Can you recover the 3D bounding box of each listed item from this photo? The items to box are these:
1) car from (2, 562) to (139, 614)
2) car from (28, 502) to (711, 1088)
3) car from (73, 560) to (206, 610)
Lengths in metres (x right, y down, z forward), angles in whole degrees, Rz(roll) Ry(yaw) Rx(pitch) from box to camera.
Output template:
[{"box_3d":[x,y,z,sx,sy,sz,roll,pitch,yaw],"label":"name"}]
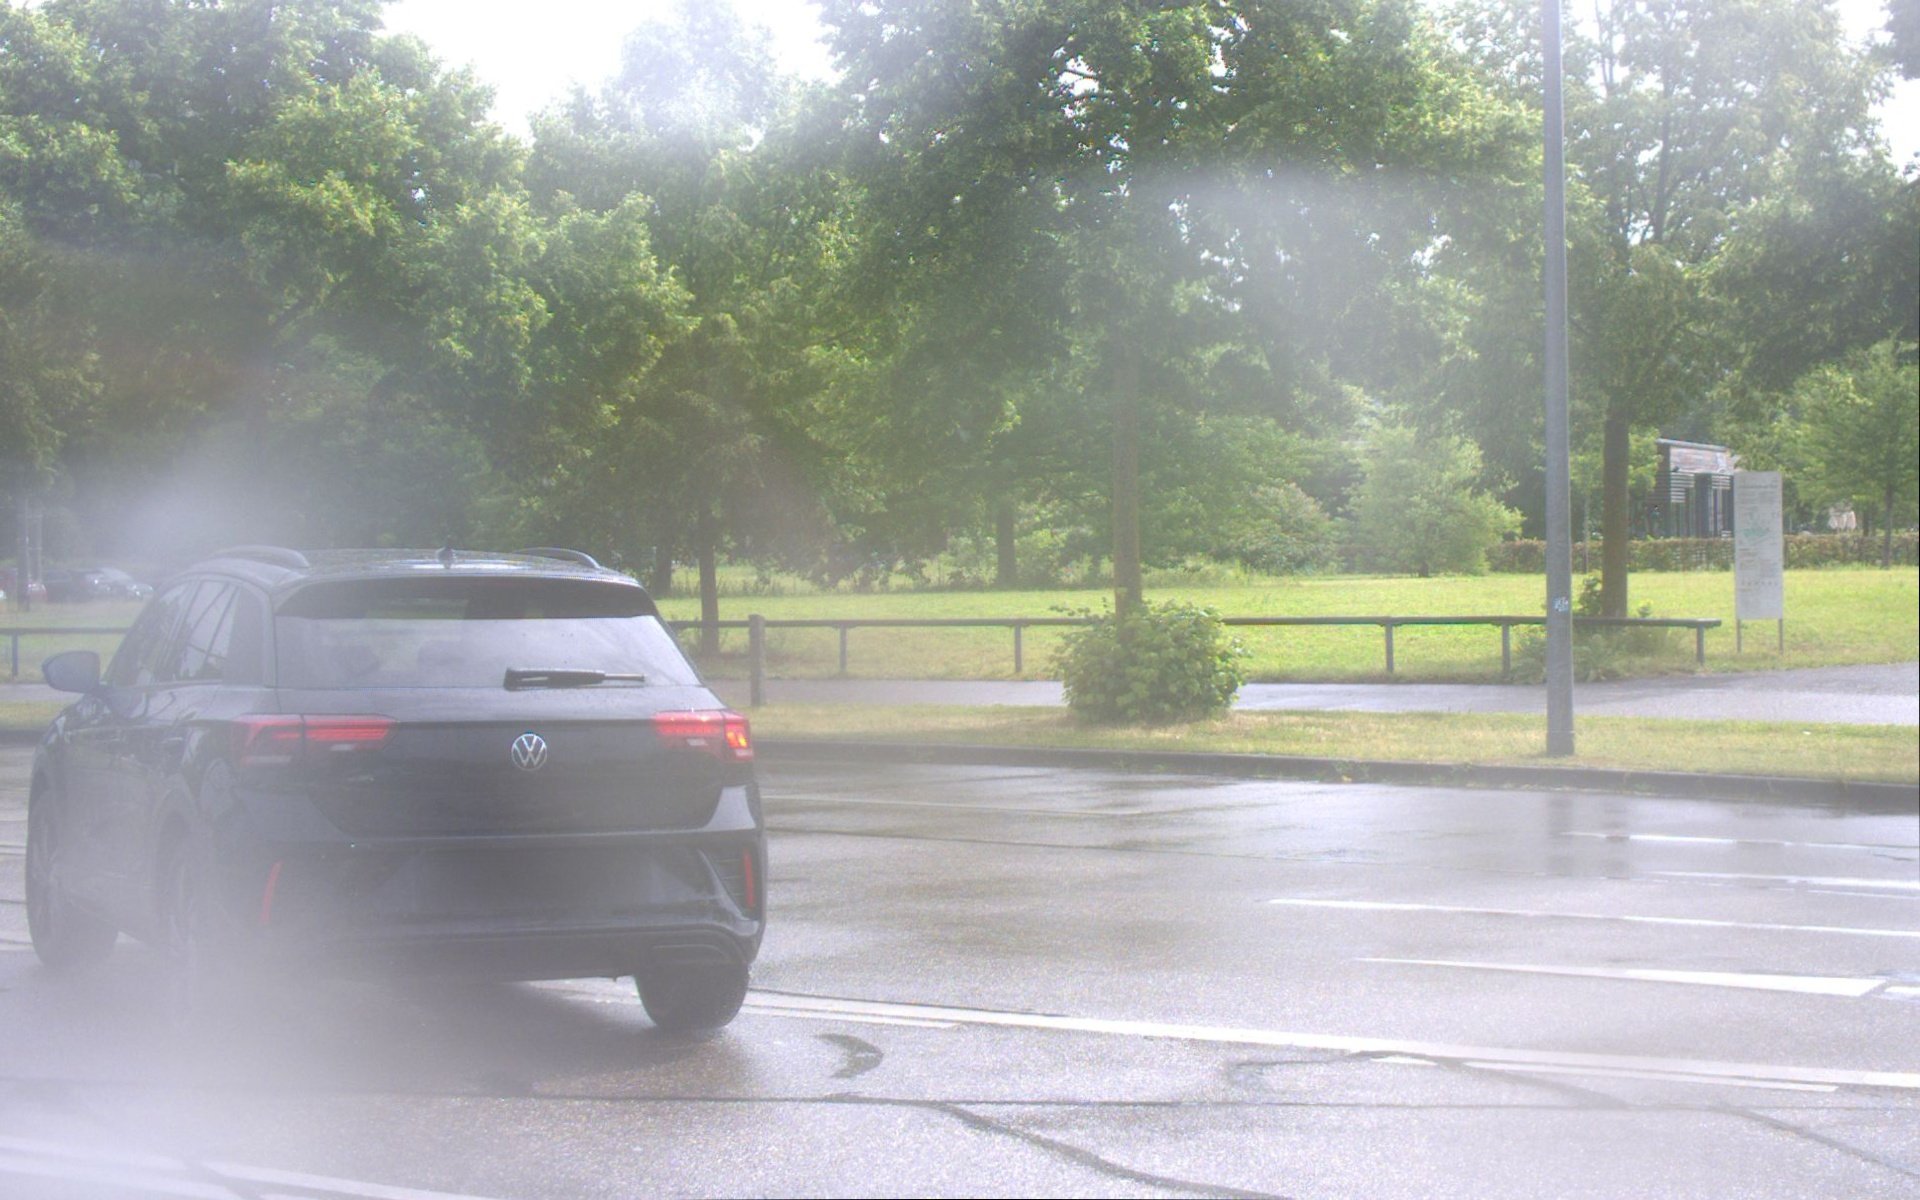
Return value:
[{"box_3d":[-28.798,-0.384,111.309,3.971,1.554,1.848,-1,1,24],"label":"car"},{"box_3d":[-2.112,0.526,11.773,1.897,1.612,4.001,-1,1,-13],"label":"car"},{"box_3d":[-27.417,-0.499,114.897,3.971,1.554,1.848,-1,1,24],"label":"car"}]
